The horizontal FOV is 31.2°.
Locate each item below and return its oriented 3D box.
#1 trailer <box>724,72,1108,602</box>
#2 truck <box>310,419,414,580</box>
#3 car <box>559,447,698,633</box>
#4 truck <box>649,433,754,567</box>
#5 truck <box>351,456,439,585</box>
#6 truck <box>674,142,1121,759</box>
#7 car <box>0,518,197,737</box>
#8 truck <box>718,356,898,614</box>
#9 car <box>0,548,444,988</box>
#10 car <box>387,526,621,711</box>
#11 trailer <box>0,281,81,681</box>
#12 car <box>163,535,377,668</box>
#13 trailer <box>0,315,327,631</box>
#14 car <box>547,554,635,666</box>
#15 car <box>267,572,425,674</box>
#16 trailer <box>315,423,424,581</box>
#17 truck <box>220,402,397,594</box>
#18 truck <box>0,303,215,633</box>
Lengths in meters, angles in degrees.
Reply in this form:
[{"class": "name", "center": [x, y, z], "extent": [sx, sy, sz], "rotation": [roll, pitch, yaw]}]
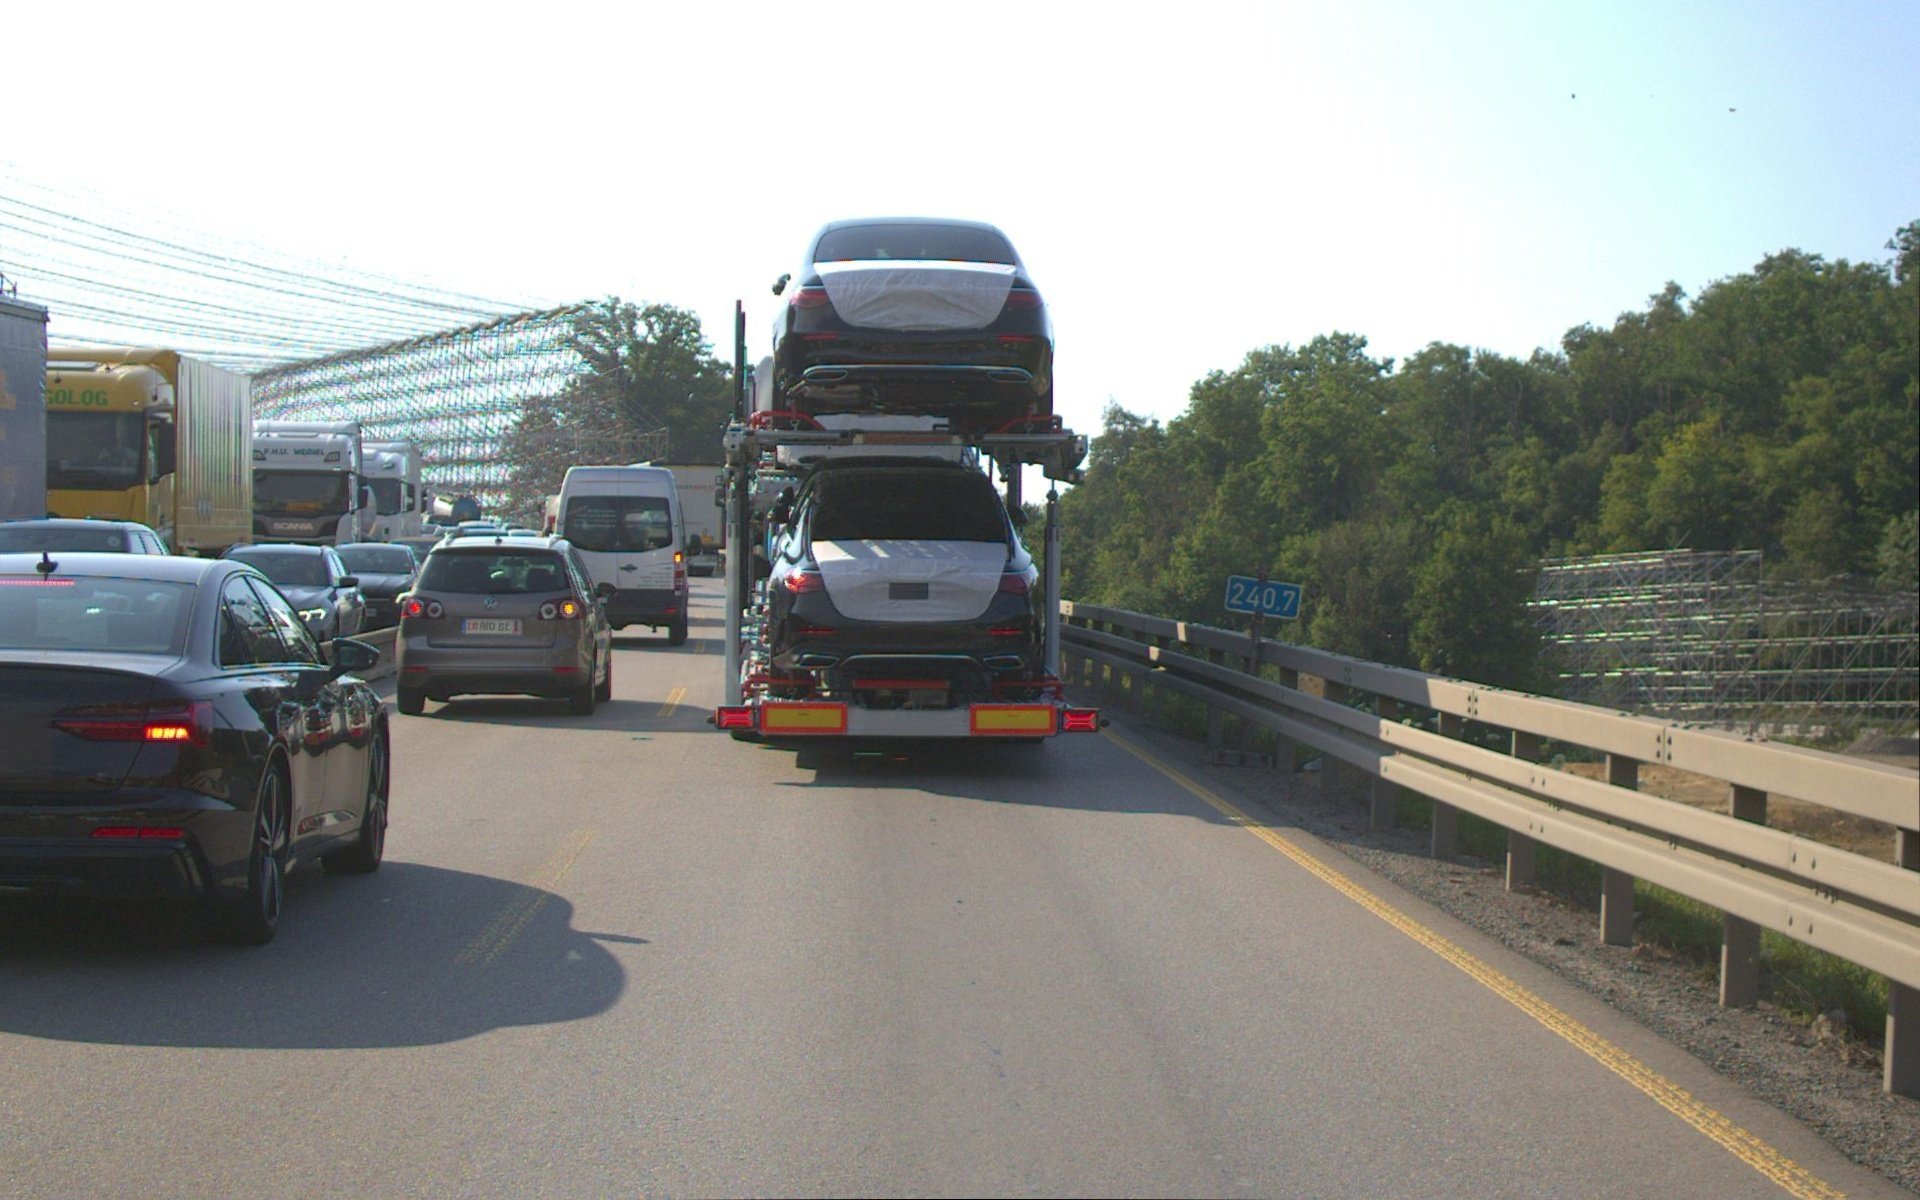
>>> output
[{"class": "trailer", "center": [-0.847, -1.996, 33.561], "extent": [2.874, 3.980, 15.281], "rotation": [0, 0, -4]}, {"class": "truck", "center": [-16.348, -2.679, 94.327], "extent": [2.443, 4.257, 6.323], "rotation": [0, 0, -7]}, {"class": "car", "center": [-4.962, -0.872, 51.887], "extent": [1.979, 2.675, 4.147], "rotation": [0, 0, -4]}, {"class": "truck", "center": [-9.486, -3.670, 126.665], "extent": [3.648, 4.661, 11.697], "rotation": [1, 2, -4]}, {"class": "truck", "center": [-19.221, -2.646, 117.200], "extent": [2.893, 4.257, 5.773], "rotation": [0, 0, -8]}, {"class": "truck", "center": [-0.428, -0.970, 25.049], "extent": [2.870, 3.966, 5.771], "rotation": [0, 0, 0]}, {"class": "car", "center": [-7.811, 0.205, 28.933], "extent": [1.927, 1.696, 4.692], "rotation": [0, 0, -2]}, {"class": "truck", "center": [-3.171, -2.257, 68.552], "extent": [3.228, 4.661, 11.697], "rotation": [1, 2, -4]}, {"class": "car", "center": [-3.488, 0.547, 14.164], "extent": [1.940, 1.475, 5.222], "rotation": [0, 0, 0]}, {"class": "car", "center": [-4.106, 0.153, 31.493], "extent": [1.700, 1.581, 4.147], "rotation": [0, 0, -2]}, {"class": "trailer", "center": [-11.041, -1.223, 30.985], "extent": [2.714, 4.120, 16.754], "rotation": [0, 0, -3]}, {"class": "car", "center": [-8.163, 0.017, 41.058], "extent": [1.788, 1.492, 4.725], "rotation": [0, 0, -2]}, {"class": "trailer", "center": [-12.186, -1.704, 53.719], "extent": [2.701, 4.189, 15.999], "rotation": [0, 0, -4]}, {"class": "car", "center": [-6.998, 0.181, 65.394], "extent": [1.528, 2.007, 4.001], "rotation": [3, 0, -5]}, {"class": "car", "center": [-9.086, 0.326, 51.152], "extent": [1.797, 1.448, 4.616], "rotation": [0, 0, -4]}, {"class": "trailer", "center": [-16.970, -2.684, 99.439], "extent": [2.452, 4.251, 12.148], "rotation": [0, 0, -7]}, {"class": "truck", "center": [-14.657, -2.125, 78.315], "extent": [2.808, 3.956, 13.896], "rotation": [1, 0, -6]}, {"class": "truck", "center": [-11.629, -1.683, 45.871], "extent": [2.693, 4.182, 4.399], "rotation": [0, 0, -4]}]
